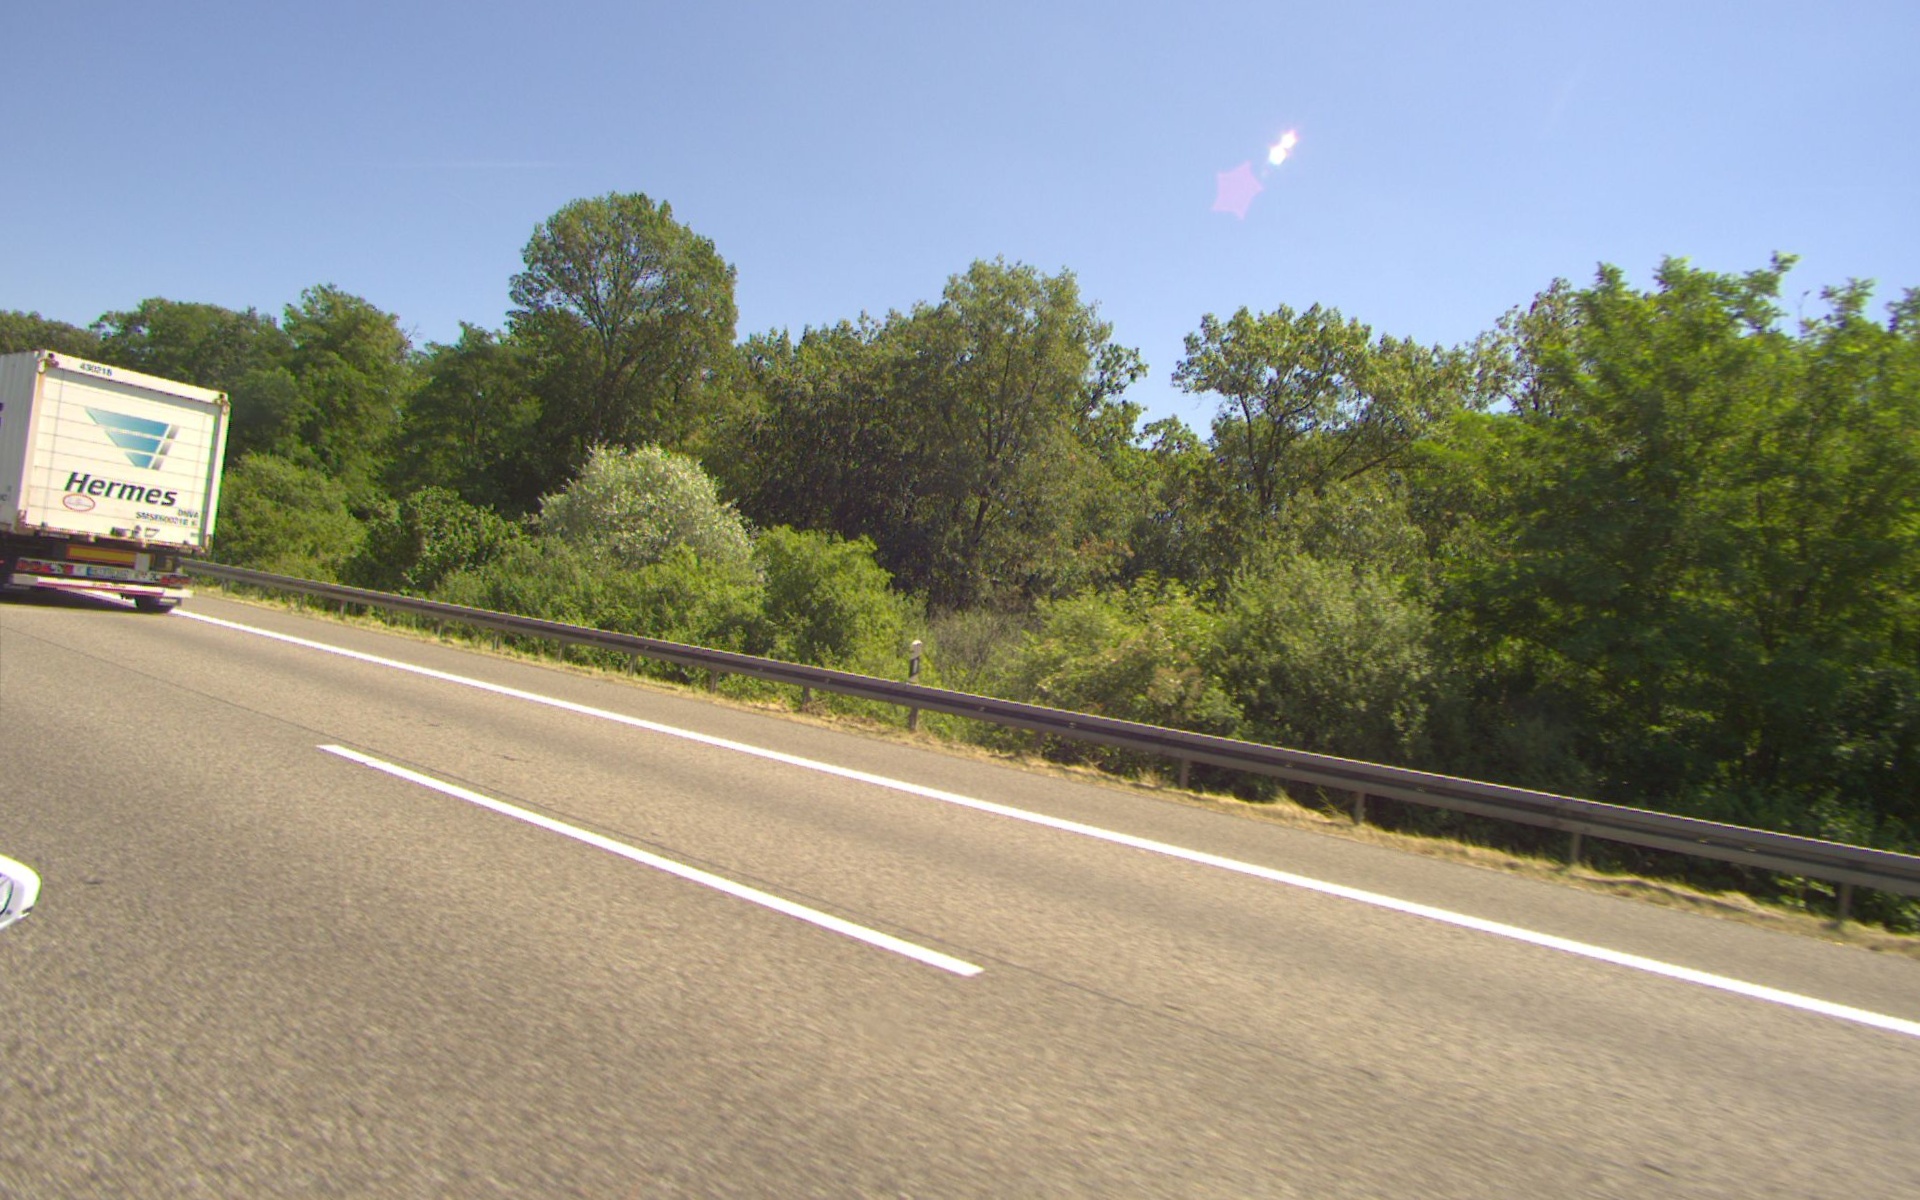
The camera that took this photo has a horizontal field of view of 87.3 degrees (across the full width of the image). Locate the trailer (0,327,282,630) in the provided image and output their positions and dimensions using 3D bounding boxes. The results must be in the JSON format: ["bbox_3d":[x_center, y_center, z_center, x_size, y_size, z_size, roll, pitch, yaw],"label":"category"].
[{"bbox_3d":[-16.760,-2.178,18.544,8.941,4.190,3.374,7,-2,32],"label":"trailer"}]

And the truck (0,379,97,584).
[{"bbox_3d":[-24.727,-3.042,23.613,10.772,4.099,3.332,6,-2,32],"label":"truck"}]
